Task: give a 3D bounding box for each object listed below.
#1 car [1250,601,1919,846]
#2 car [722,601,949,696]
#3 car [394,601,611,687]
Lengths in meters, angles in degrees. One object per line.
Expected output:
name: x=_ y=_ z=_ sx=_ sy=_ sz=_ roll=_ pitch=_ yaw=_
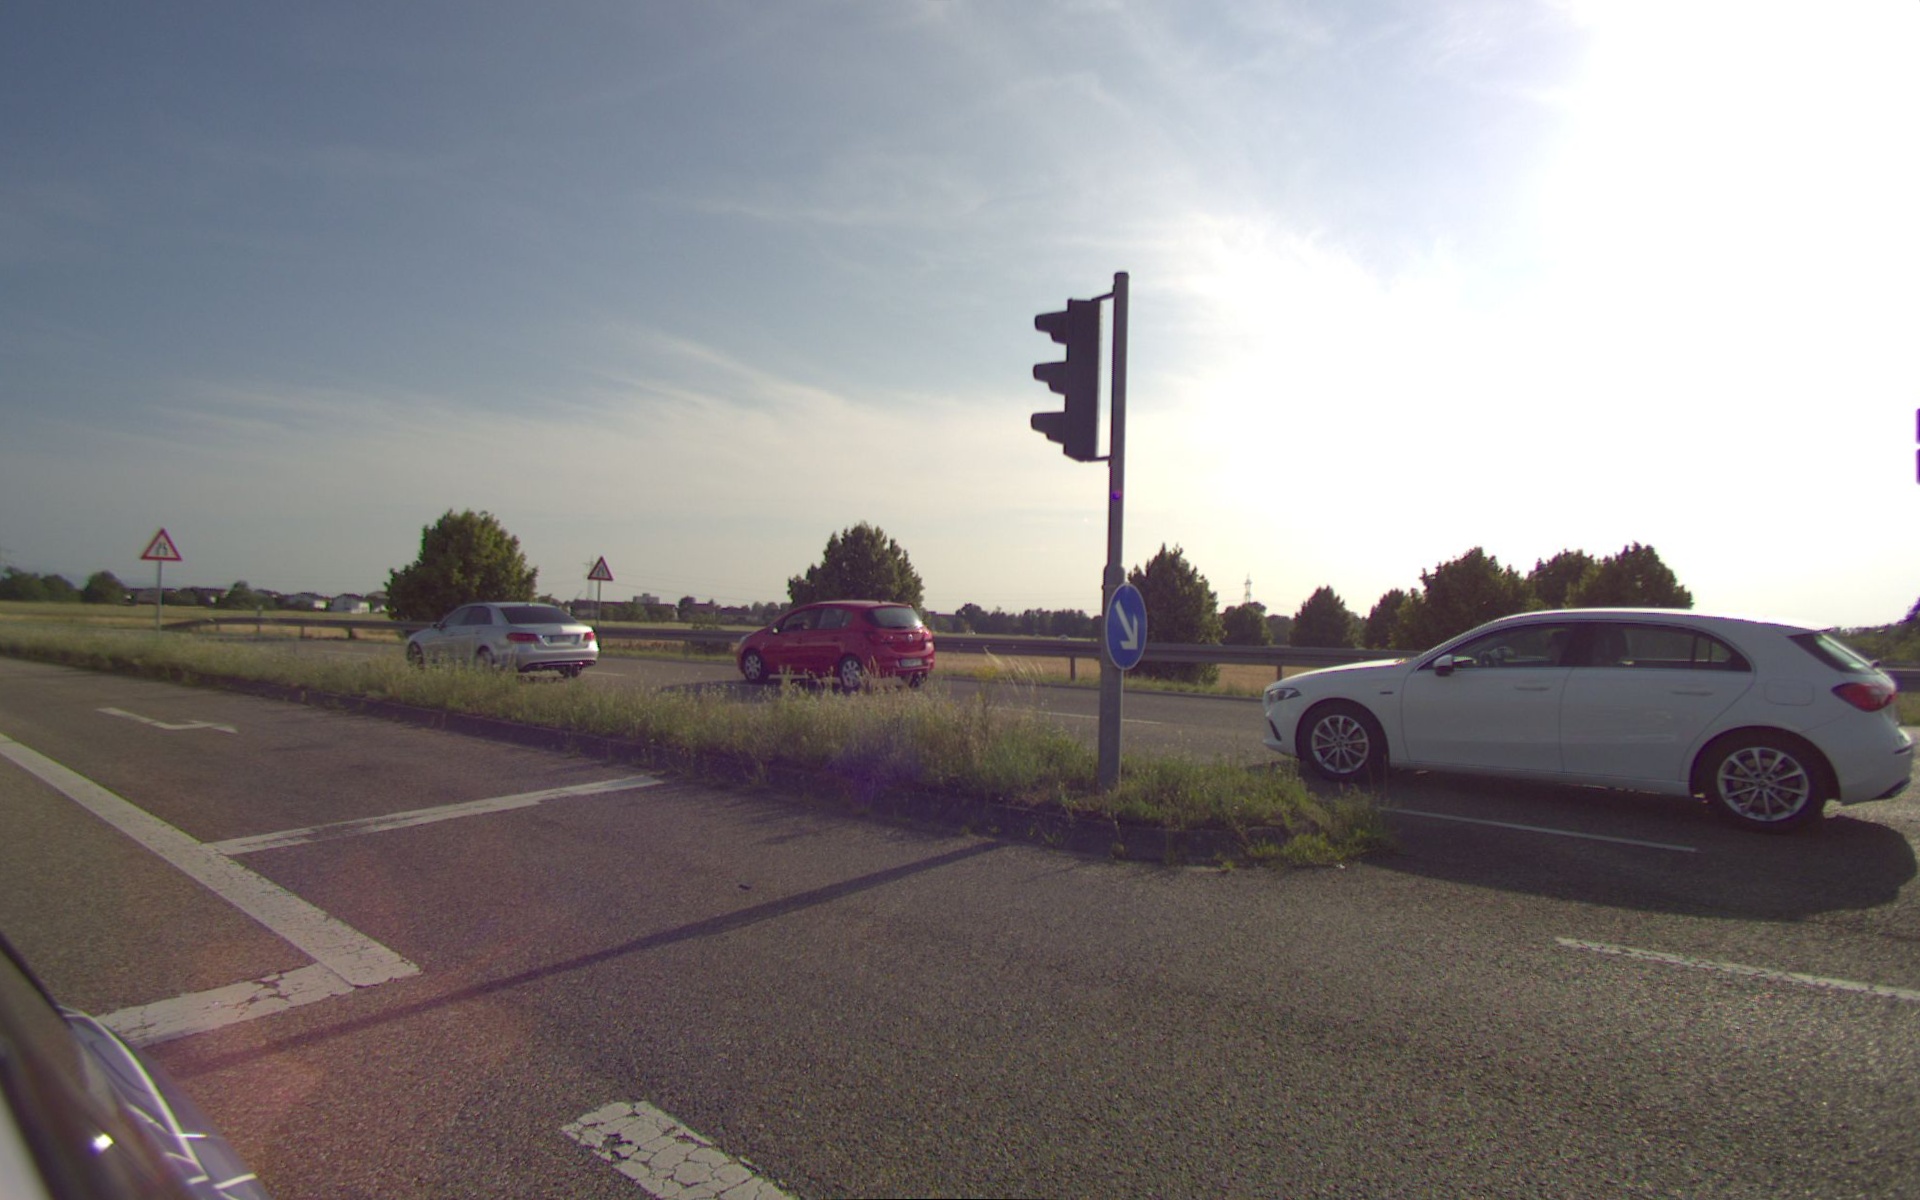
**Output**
car: x=4.677 y=0.735 z=7.844 sx=4.393 sy=1.424 sz=1.711 roll=0 pitch=-1 yaw=42
car: x=-2.256 y=0.773 z=17.786 sx=4.019 sy=1.478 sz=1.644 roll=0 pitch=-1 yaw=39
car: x=-8.891 y=0.767 z=19.504 sx=4.696 sy=1.446 sz=1.908 roll=0 pitch=-1 yaw=39
